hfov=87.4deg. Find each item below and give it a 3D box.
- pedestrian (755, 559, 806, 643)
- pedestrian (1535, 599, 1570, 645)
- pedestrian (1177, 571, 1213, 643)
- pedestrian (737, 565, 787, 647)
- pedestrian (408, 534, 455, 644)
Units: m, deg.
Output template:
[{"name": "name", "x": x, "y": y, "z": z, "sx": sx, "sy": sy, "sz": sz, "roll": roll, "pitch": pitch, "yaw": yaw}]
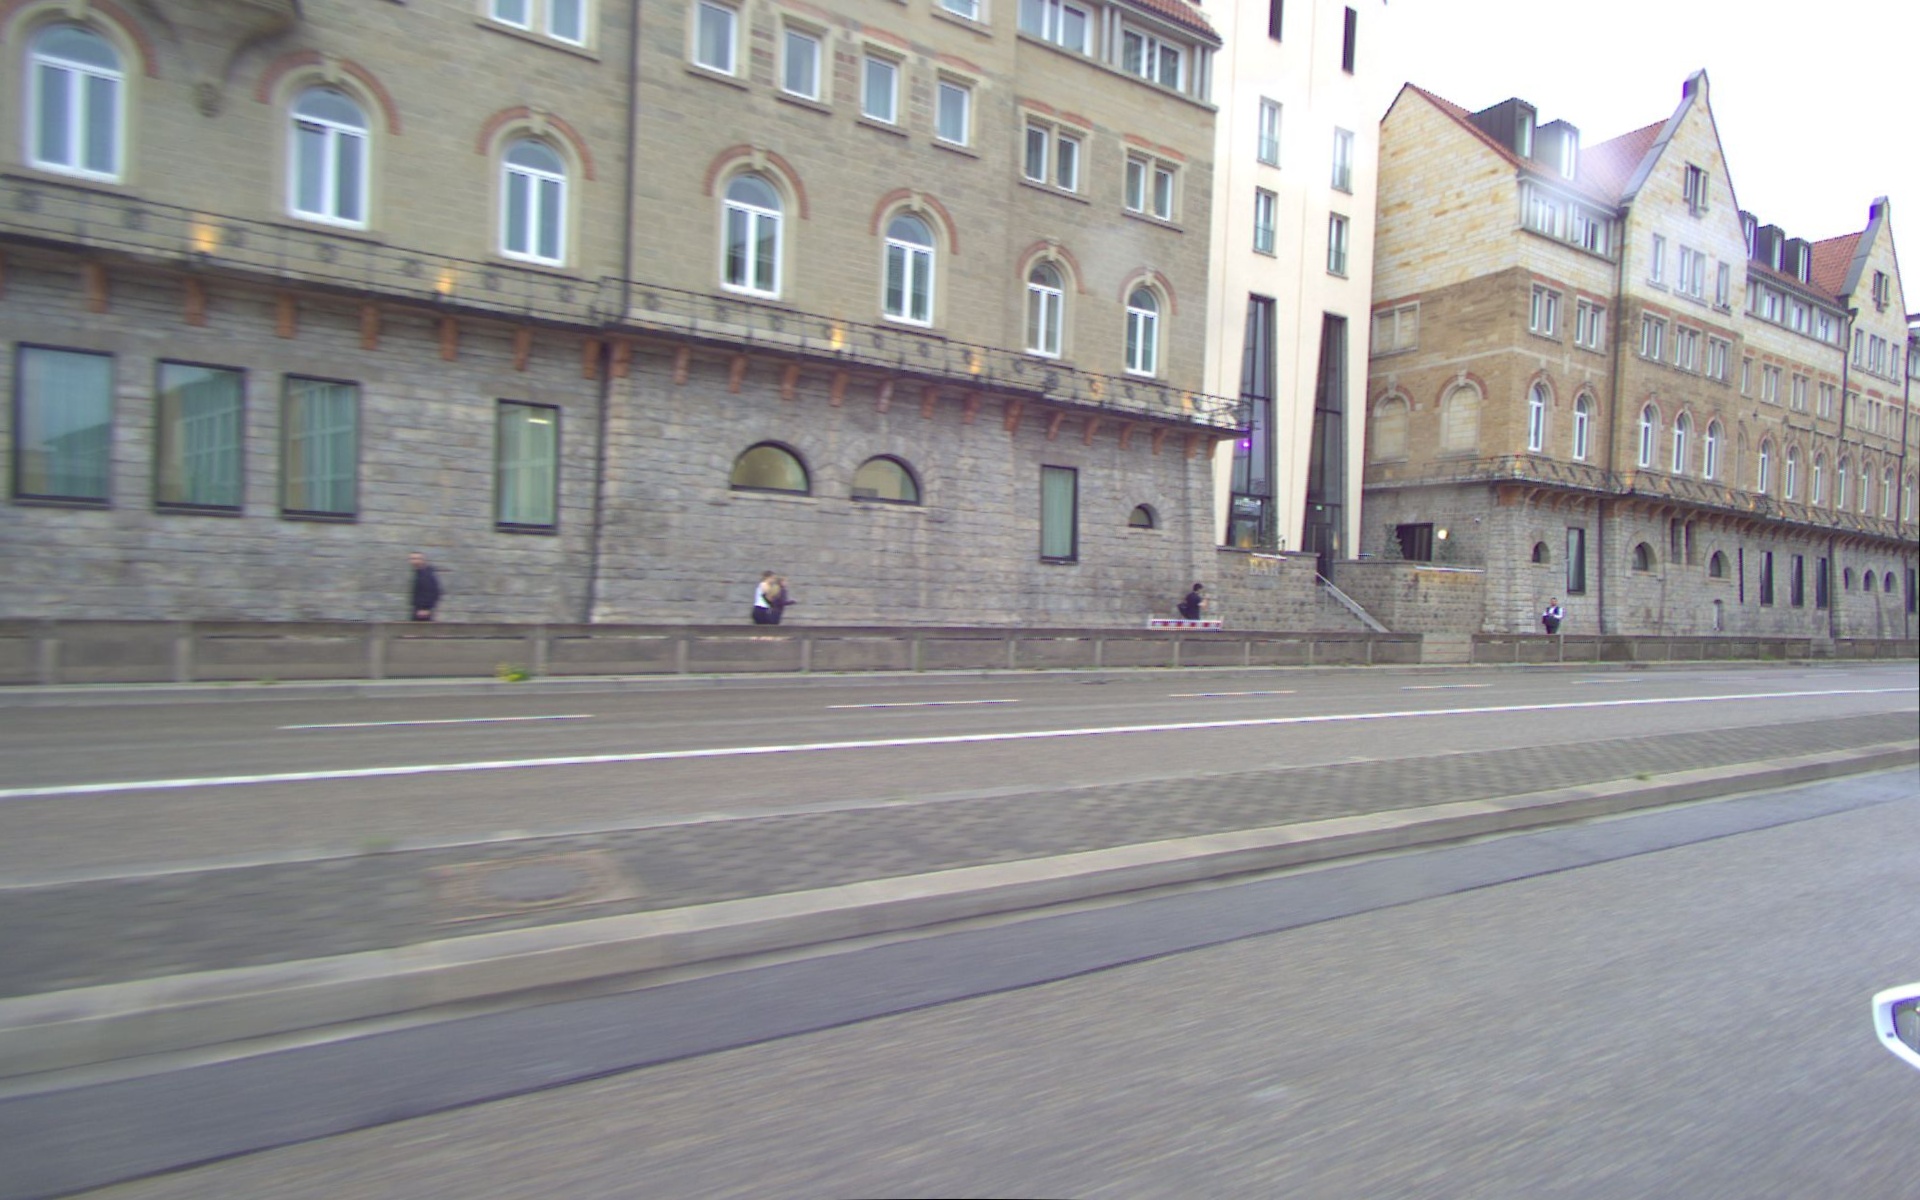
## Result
[{"name": "pedestrian", "x": -3.275, "y": 0.013, "z": 18.300, "sx": 0.706, "sy": 1.497, "sz": 0.750, "roll": -1, "pitch": 1, "yaw": -31}, {"name": "pedestrian", "x": 19.477, "y": 0.720, "z": 33.004, "sx": 0.706, "sy": 1.497, "sz": 0.750, "roll": -1, "pitch": 1, "yaw": -31}, {"name": "pedestrian", "x": 5.929, "y": 0.168, "z": 25.338, "sx": 0.616, "sy": 1.769, "sz": 0.634, "roll": -1, "pitch": 1, "yaw": -43}, {"name": "pedestrian", "x": -3.736, "y": 0.102, "z": 18.923, "sx": 0.706, "sy": 1.497, "sz": 0.750, "roll": -1, "pitch": 1, "yaw": -31}, {"name": "pedestrian", "x": -8.676, "y": -0.180, "z": 16.492, "sx": 0.614, "sy": 1.769, "sz": 0.637, "roll": -1, "pitch": 1, "yaw": -32}]
